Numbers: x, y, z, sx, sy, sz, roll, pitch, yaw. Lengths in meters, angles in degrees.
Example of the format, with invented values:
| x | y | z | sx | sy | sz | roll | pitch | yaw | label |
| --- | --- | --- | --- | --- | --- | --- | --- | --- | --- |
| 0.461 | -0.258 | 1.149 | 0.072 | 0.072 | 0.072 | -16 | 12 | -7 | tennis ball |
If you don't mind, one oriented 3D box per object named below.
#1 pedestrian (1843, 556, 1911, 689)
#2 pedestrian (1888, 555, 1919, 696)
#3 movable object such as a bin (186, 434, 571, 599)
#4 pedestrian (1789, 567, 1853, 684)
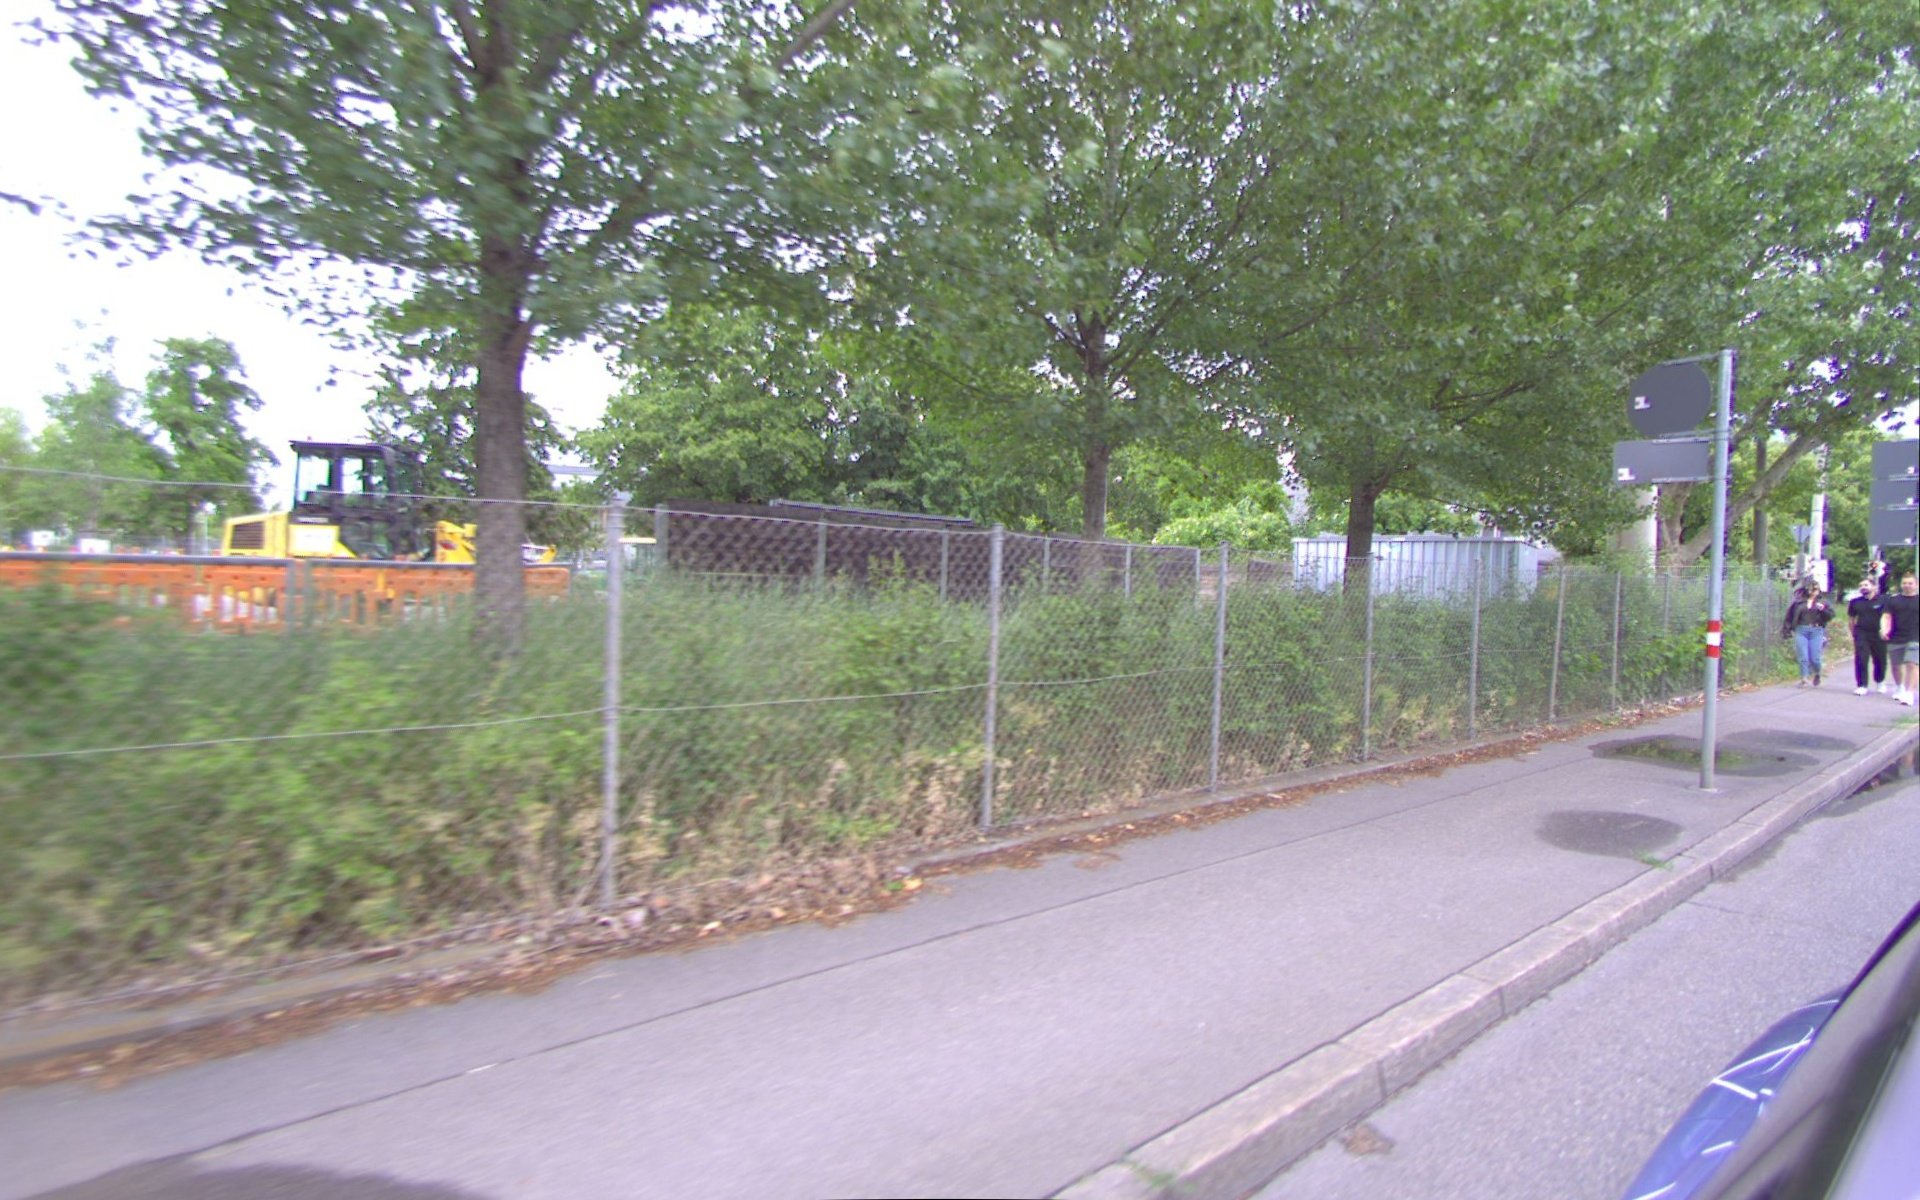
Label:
| x | y | z | sx | sy | sz | roll | pitch | yaw | label |
| --- | --- | --- | --- | --- | --- | --- | --- | --- | --- |
| 13.444 | 0.308 | 14.842 | 0.660 | 1.890 | 0.604 | 0 | 2 | -40 | pedestrian |
| 13.204 | 0.336 | 13.854 | 0.660 | 1.889 | 0.604 | -4 | 4 | -40 | pedestrian |
| -7.753 | -1.161 | 14.035 | 4.205 | 2.037 | 2.005 | -2 | 4 | -16 | movable object such as a bin |
| 13.070 | 0.364 | 15.372 | 0.660 | 1.709 | 0.604 | -4 | 4 | -40 | pedestrian |
